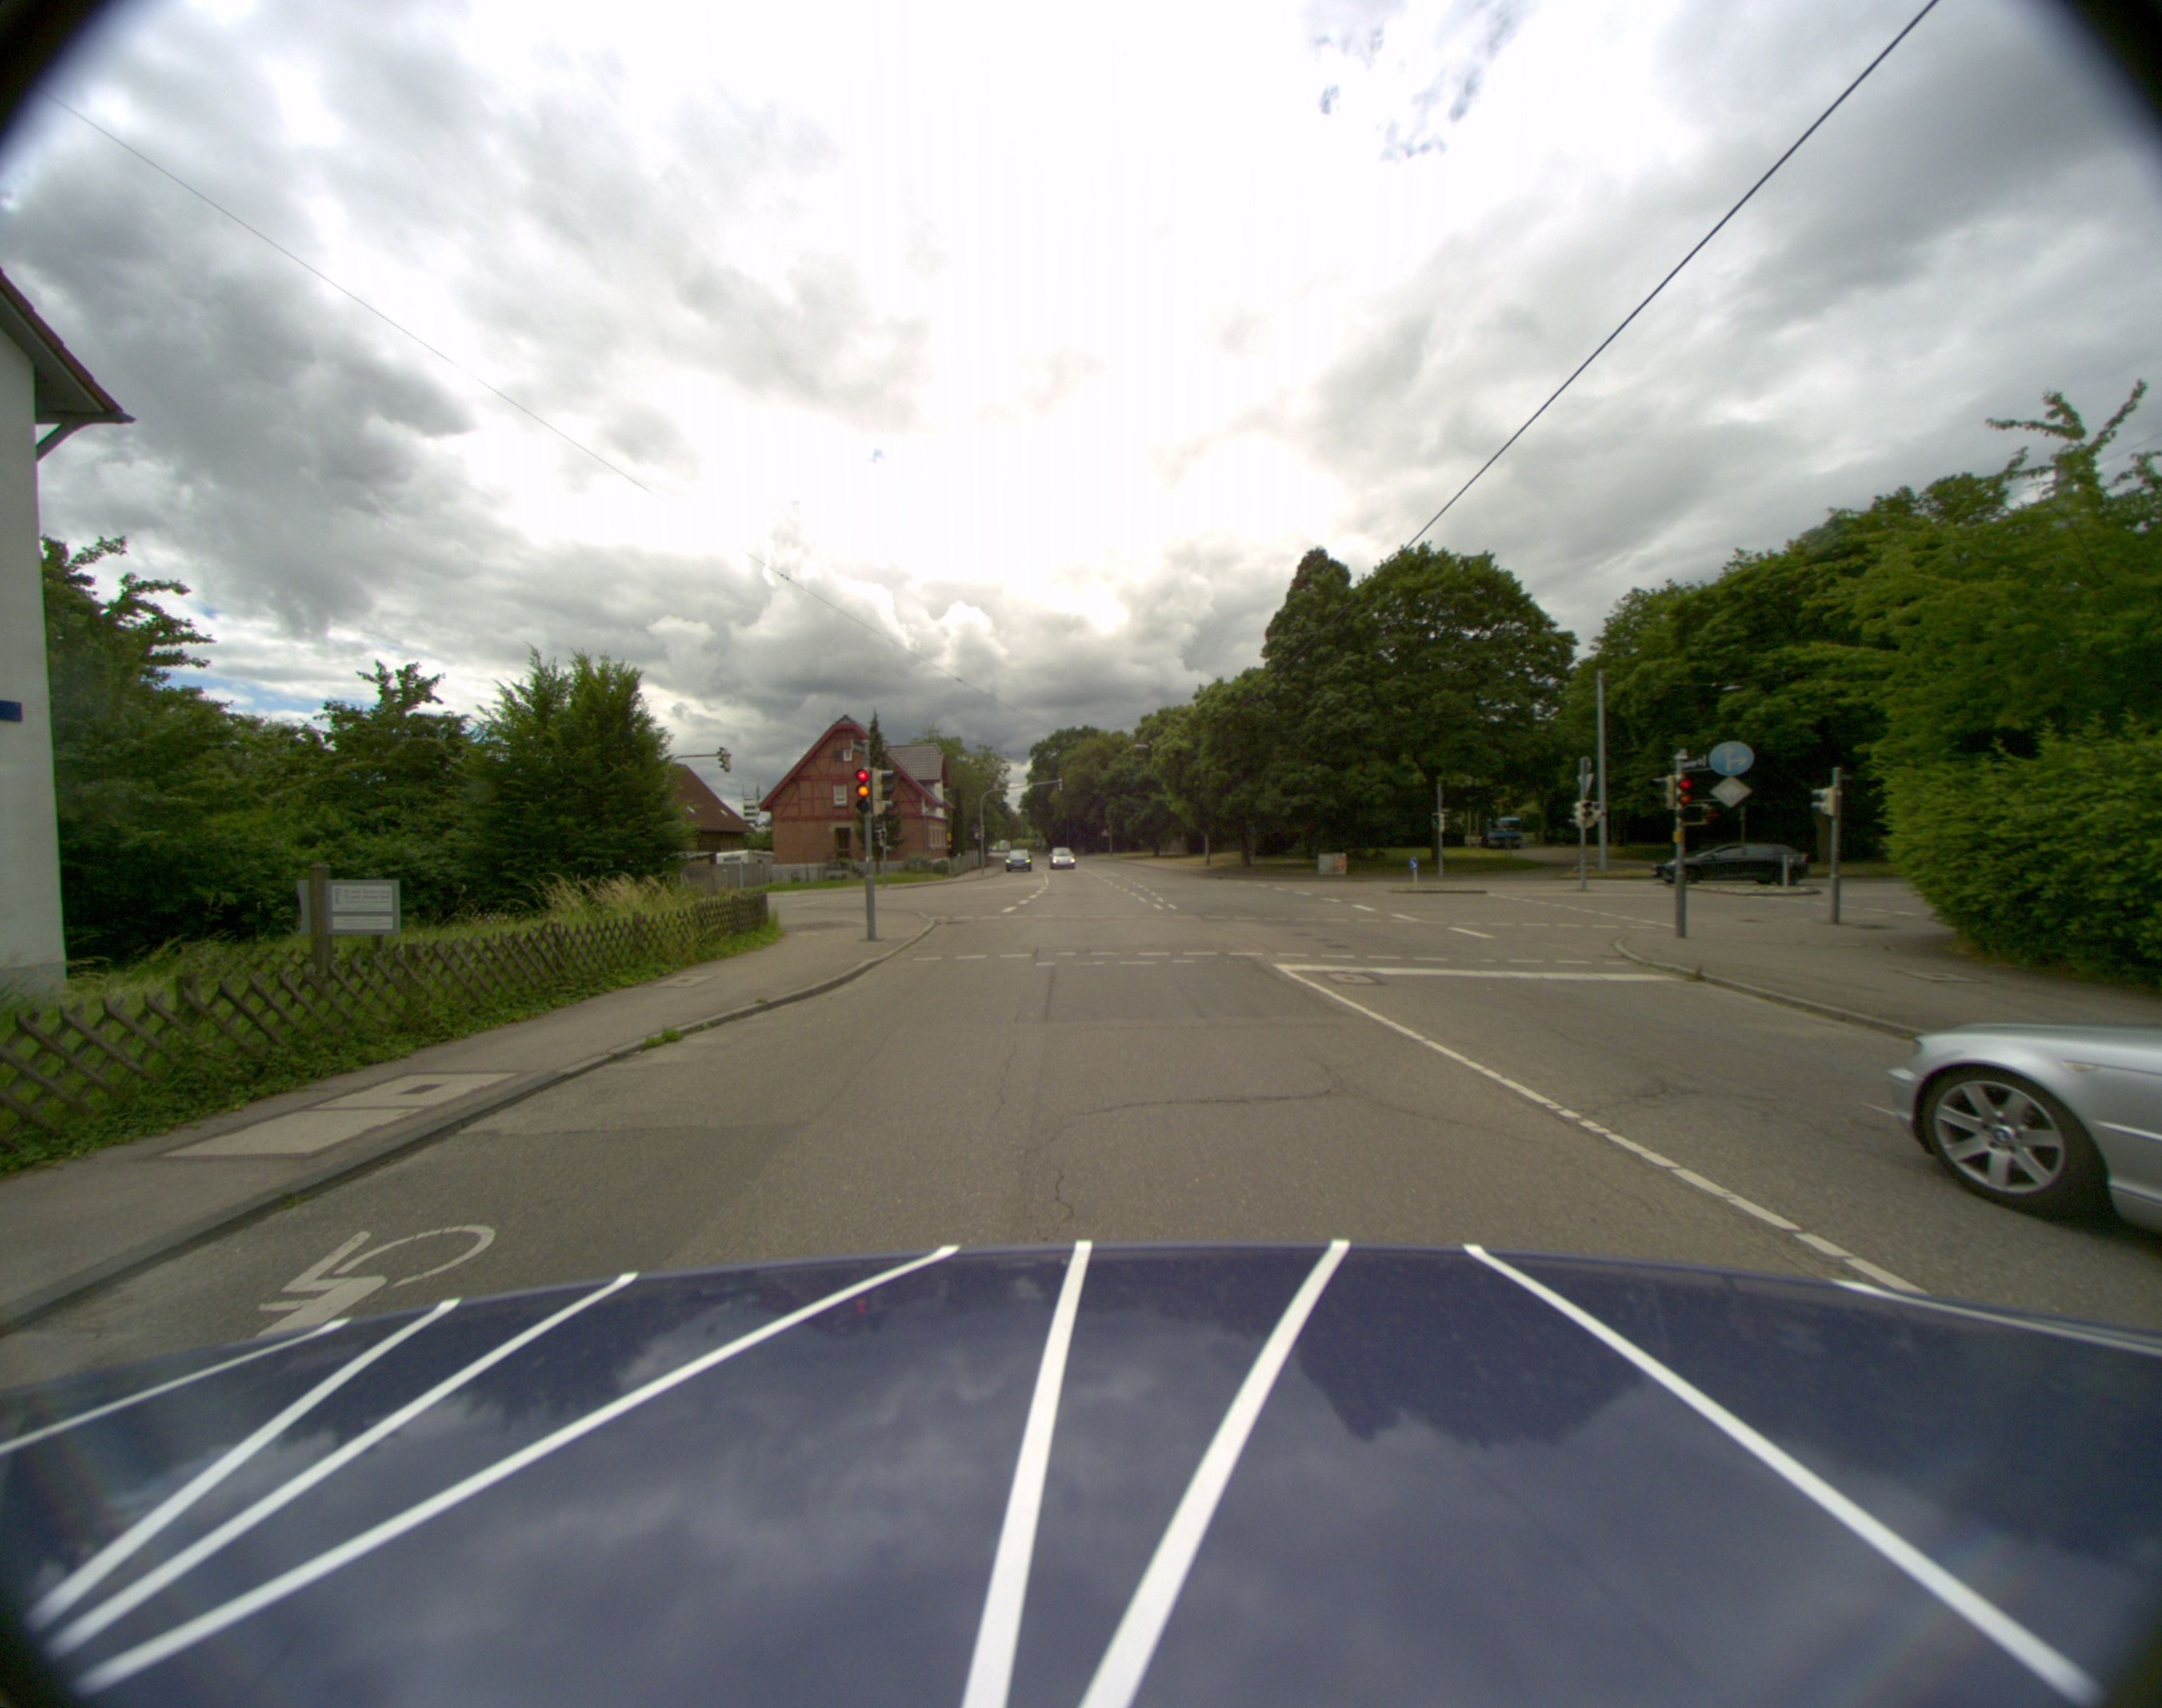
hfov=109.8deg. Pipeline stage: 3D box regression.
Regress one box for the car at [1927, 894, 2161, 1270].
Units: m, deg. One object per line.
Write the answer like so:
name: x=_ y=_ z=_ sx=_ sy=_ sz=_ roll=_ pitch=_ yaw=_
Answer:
car: x=4.912 y=0.948 z=1.555 sx=1.717 sy=1.346 sz=4.082 roll=4 pitch=1 yaw=0

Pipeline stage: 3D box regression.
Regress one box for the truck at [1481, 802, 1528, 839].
truck: x=34.606 y=-2.719 z=62.280 sx=2.477 sy=2.831 sz=7.442 roll=-1 pitch=2 yaw=22

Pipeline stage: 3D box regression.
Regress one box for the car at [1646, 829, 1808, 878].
car: x=23.039 y=-0.007 z=27.298 sx=3.991 sy=1.609 sz=2.002 roll=-1 pitch=2 yaw=22

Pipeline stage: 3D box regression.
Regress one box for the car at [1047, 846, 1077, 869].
car: x=-1.487 y=0.265 z=57.604 sx=1.781 sy=1.510 sz=3.554 roll=-3 pitch=2 yaw=-9

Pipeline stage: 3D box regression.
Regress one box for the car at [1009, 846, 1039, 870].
car: x=-4.066 y=0.272 z=54.736 sx=1.926 sy=1.510 sz=3.998 roll=-2 pitch=2 yaw=-2
